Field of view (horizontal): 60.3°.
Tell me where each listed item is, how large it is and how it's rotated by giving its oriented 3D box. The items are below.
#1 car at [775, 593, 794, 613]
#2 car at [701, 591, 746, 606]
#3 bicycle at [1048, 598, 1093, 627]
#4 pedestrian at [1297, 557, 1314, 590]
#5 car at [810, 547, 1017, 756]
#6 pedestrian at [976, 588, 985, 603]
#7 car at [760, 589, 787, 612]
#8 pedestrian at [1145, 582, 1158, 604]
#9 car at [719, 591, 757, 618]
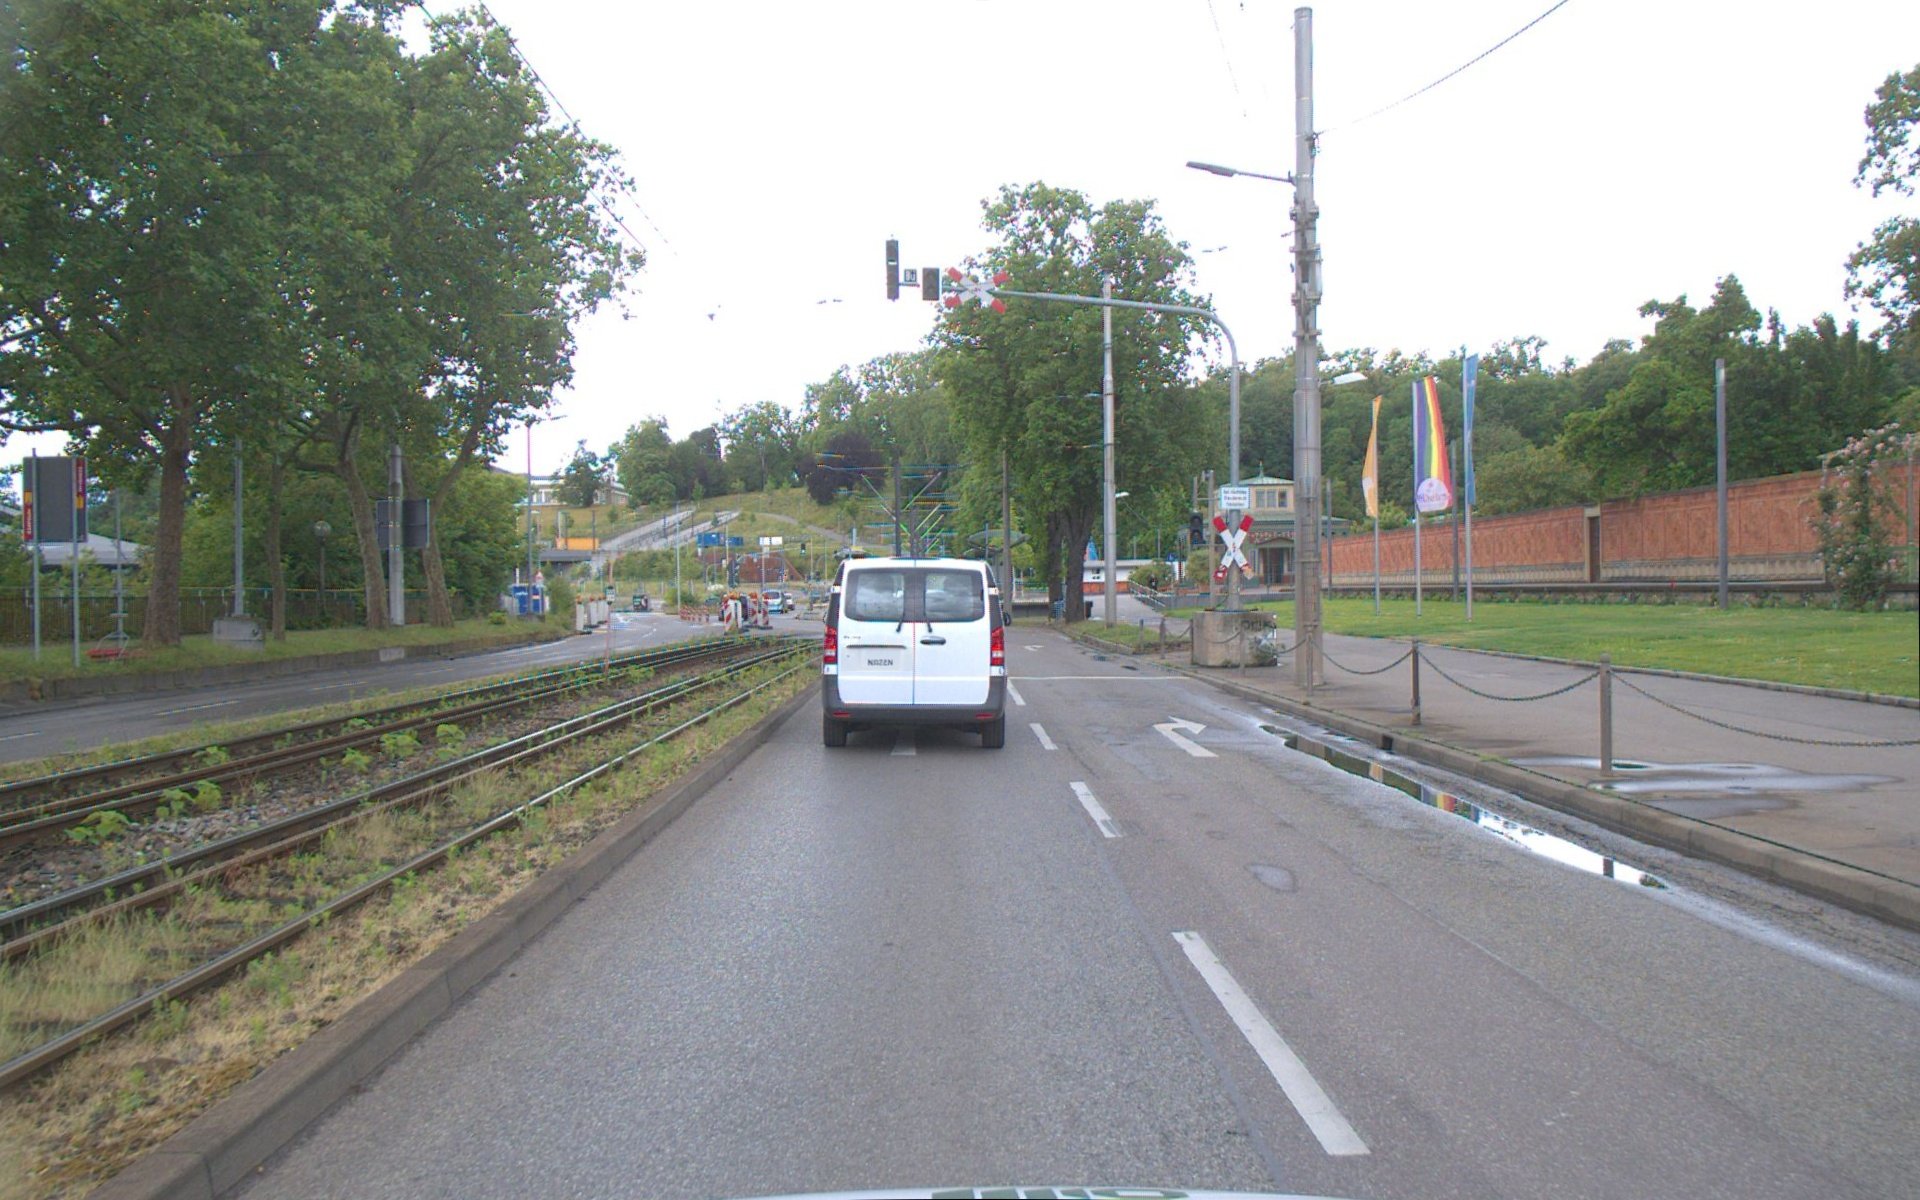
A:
[{"bbox_3d":[-19.050,0.349,179.266,1.896,2.049,3.996,1,-1,-5],"label":"car"},{"bbox_3d":[-26.815,-0.208,187.644,4.608,1.503,2.002,-2,1,10],"label":"car"},{"bbox_3d":[4.823,0.544,72.083,1.949,1.178,0.741,-1,0,4],"label":"bicycle"},{"bbox_3d":[19.821,-1.544,94.847,0.929,1.870,0.550,1,-1,9],"label":"pedestrian"},{"bbox_3d":[-0.471,0.492,17.626,1.919,1.937,4.460,0,0,-1],"label":"car"},{"bbox_3d":[1.628,-0.340,131.260,0.644,1.212,0.676,1,-1,1],"label":"pedestrian"},{"bbox_3d":[-14.961,0.065,132.598,1.716,1.803,3.999,1,-1,0],"label":"car"},{"bbox_3d":[10.606,-0.400,91.522,0.537,1.222,0.668,1,-1,-7],"label":"pedestrian"},{"bbox_3d":[-12.640,0.255,93.892,1.806,1.493,4.049,0,0,-12],"label":"car"}]
